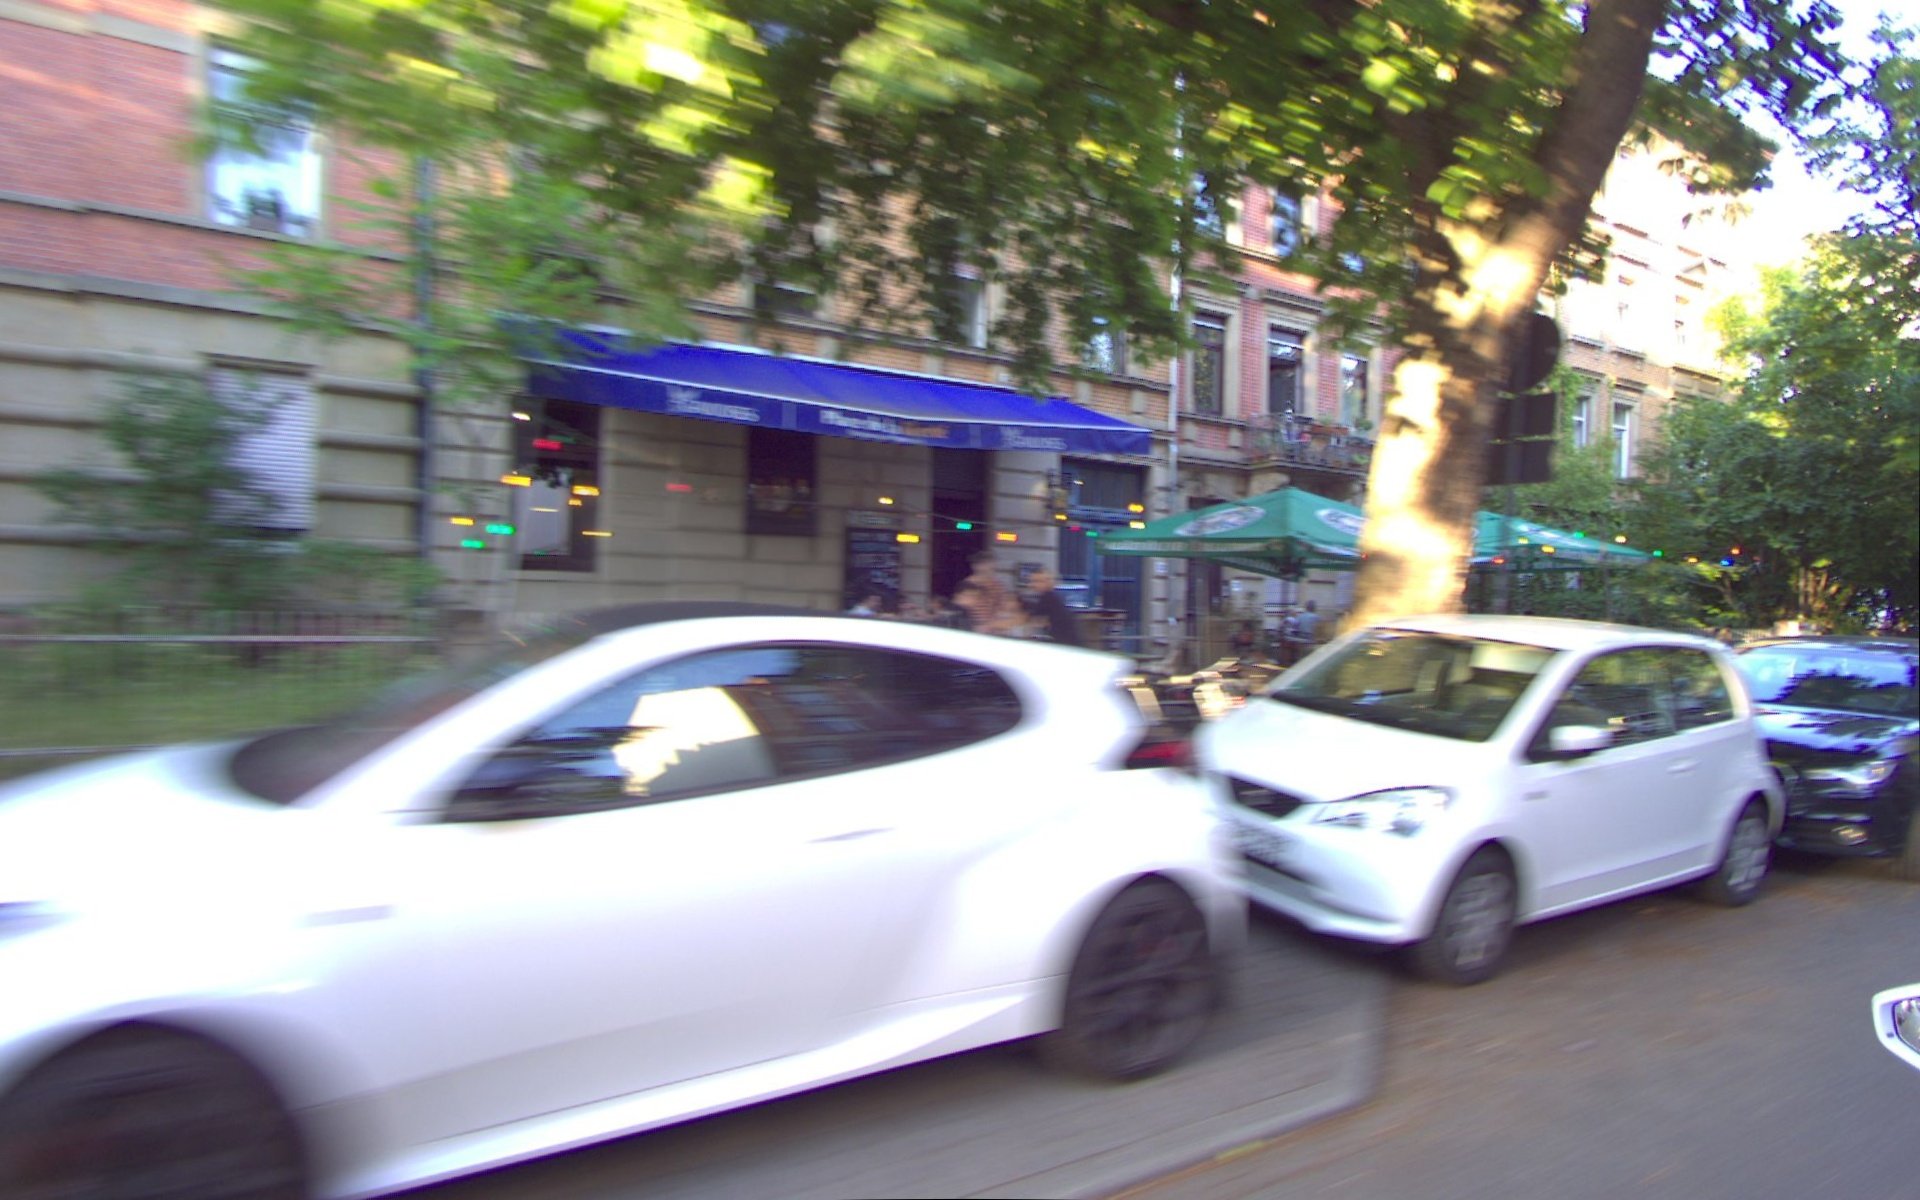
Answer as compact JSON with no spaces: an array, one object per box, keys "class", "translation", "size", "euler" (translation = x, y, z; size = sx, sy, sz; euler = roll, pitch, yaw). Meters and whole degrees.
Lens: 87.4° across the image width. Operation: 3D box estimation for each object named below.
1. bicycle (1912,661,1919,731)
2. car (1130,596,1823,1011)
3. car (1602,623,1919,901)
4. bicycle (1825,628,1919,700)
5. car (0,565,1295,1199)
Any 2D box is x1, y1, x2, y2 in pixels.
[{"class":"bicycle","translation":[13.647,1.302,13.689],"size":[1.712,0.941,0.414],"euler":[1,3,-28]},{"class":"car","translation":[2.847,0.790,5.382],"size":[3.651,1.505,1.543],"euler":[1,3,-31]},{"class":"car","translation":[6.328,0.931,7.169],"size":[3.652,1.505,1.543],"euler":[1,-1,-32]},{"class":"bicycle","translation":[17.522,1.197,18.804],"size":[2.441,1.302,0.606],"euler":[1,0,-10]},{"class":"car","translation":[-0.930,0.686,3.155],"size":[3.840,1.455,1.595],"euler":[1,3,-31]}]
